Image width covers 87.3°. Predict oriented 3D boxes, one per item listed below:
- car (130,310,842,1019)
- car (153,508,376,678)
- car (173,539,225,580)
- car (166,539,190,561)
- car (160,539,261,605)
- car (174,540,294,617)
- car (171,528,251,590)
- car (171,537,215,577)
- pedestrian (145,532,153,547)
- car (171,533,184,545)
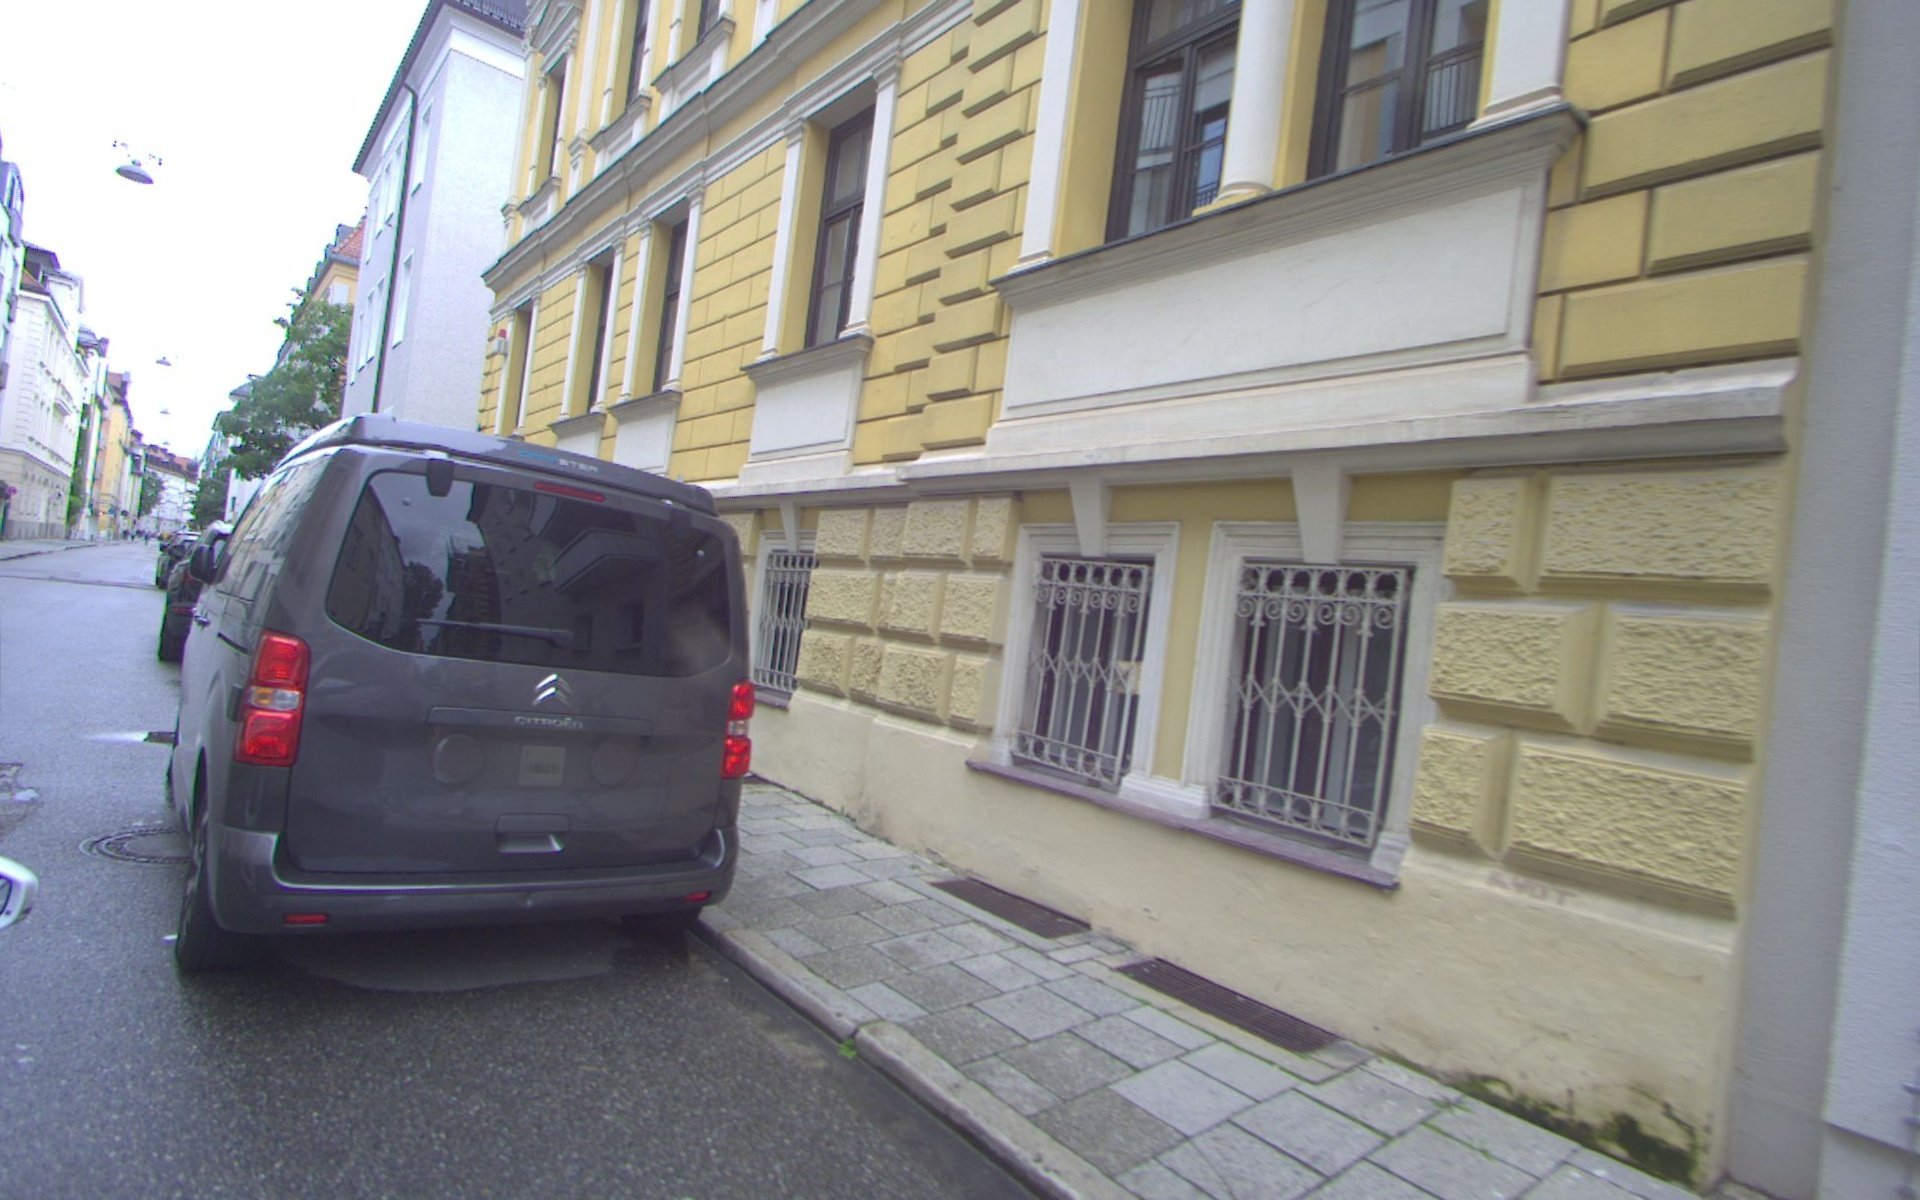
[{"bbox_3d":[-2.800,0.203,5.180,1.987,1.953,4.610,10,-4,-39],"label":"car"},{"bbox_3d":[-9.035,-0.137,12.904,1.886,1.660,4.276,9,-2,-39],"label":"car"},{"bbox_3d":[-36.299,-1.964,47.938,1.694,1.642,3.734,9,-2,-39],"label":"car"},{"bbox_3d":[-79.625,-5.129,102.372,1.694,1.939,3.734,8,-2,-39],"label":"car"},{"bbox_3d":[-20.012,-0.777,26.809,1.886,1.392,3.898,9,-3,-39],"label":"car"},{"bbox_3d":[-16.564,-0.524,22.885,1.886,1.392,3.755,9,-3,-39],"label":"car"},{"bbox_3d":[-23.148,-1.282,31.059,1.694,1.563,3.734,9,-2,-39],"label":"car"},{"bbox_3d":[-43.001,-2.419,56.393,1.694,1.922,3.734,8,-2,-39],"label":"car"},{"bbox_3d":[-92.590,-6.870,114.887,0.536,1.673,0.373,7,0,-38],"label":"pedestrian"},{"bbox_3d":[-120.497,-9.382,154.873,1.359,1.676,3.428,8,-1,-40],"label":"car"}]
